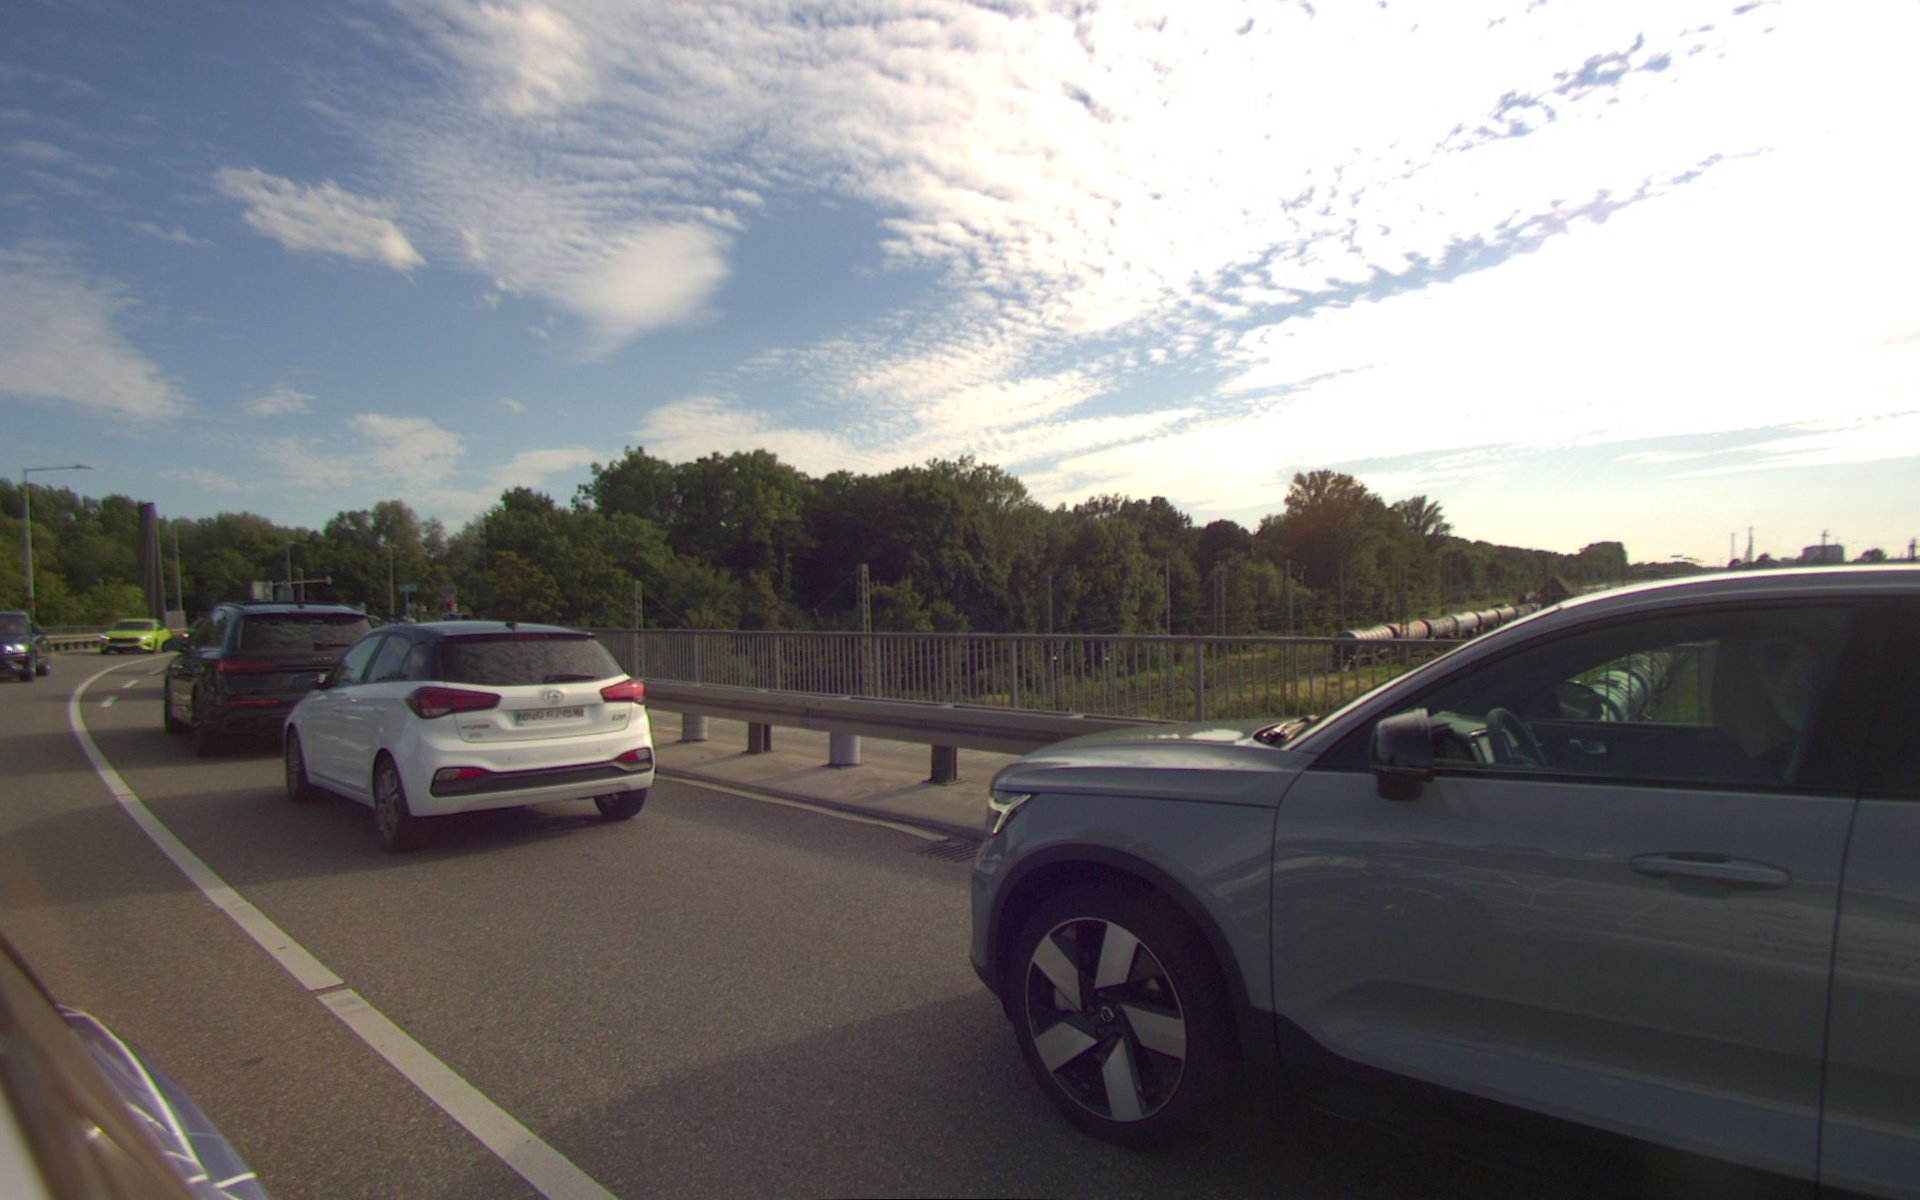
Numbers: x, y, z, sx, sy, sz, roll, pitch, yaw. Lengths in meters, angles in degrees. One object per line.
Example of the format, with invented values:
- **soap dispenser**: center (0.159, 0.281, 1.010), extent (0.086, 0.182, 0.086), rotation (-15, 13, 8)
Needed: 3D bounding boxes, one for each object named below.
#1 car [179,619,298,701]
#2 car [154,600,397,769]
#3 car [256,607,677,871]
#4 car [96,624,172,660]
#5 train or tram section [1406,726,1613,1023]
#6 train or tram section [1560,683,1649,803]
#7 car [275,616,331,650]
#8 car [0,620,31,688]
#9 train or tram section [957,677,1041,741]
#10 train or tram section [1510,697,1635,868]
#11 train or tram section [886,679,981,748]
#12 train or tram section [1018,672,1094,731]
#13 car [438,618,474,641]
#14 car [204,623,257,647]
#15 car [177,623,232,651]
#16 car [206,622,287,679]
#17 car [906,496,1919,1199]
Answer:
- **car**: center (-14.946, 1.160, 20.862), extent (1.737, 1.501, 4.453), rotation (1, -2, -39)
- **car**: center (-8.626, 0.896, 12.539), extent (1.807, 1.685, 4.872), rotation (1, -2, -42)
- **car**: center (-4.014, 0.846, 7.891), extent (1.720, 1.512, 4.079), rotation (1, -2, -45)
- **car**: center (-34.715, 1.731, 42.638), extent (1.789, 1.415, 4.404), rotation (1, -2, -30)
- **train or tram section**: center (16.587, 6.871, 29.473), extent (3.091, 4.748, 16.543), rotation (-1, -1, 36)
- **train or tram section**: center (36.058, 7.513, 56.249), extent (3.091, 4.748, 16.543), rotation (-1, -1, 36)
- **car**: center (-34.267, 1.708, 52.881), extent (1.843, 1.679, 4.644), rotation (1, -2, -25)
- **car**: center (-23.294, 1.237, 23.990), extent (1.792, 1.519, 4.395), rotation (1, -2, -43)
- **train or tram section**: center (2.781, 7.445, 70.195), extent (2.050, 3.812, 6.749), rotation (-1, -1, 41)
- **train or tram section**: center (26.296, 7.087, 42.892), extent (3.091, 4.748, 16.543), rotation (-1, -1, 36)
- **train or tram section**: center (-1.624, 7.171, 65.135), extent (2.050, 3.812, 6.749), rotation (-1, -1, 41)
- **train or tram section**: center (7.206, 7.467, 75.283), extent (2.050, 3.812, 6.749), rotation (-1, -1, 41)
- **car**: center (-45.700, 2.667, 91.819), extent (1.958, 1.979, 5.062), rotation (0, -1, -15)
- **car**: center (-42.982, 2.059, 59.694), extent (1.663, 1.333, 3.797), rotation (0, -1, -22)
- **car**: center (-38.717, 1.887, 51.934), extent (1.663, 1.333, 3.796), rotation (1, -1, -28)
- **car**: center (-20.086, 1.367, 28.628), extent (1.736, 1.501, 4.403), rotation (1, -2, -34)
- **car**: center (2.018, 0.658, 2.410), extent (4.311, 1.622, 1.734), rotation (-1, -2, 41)
